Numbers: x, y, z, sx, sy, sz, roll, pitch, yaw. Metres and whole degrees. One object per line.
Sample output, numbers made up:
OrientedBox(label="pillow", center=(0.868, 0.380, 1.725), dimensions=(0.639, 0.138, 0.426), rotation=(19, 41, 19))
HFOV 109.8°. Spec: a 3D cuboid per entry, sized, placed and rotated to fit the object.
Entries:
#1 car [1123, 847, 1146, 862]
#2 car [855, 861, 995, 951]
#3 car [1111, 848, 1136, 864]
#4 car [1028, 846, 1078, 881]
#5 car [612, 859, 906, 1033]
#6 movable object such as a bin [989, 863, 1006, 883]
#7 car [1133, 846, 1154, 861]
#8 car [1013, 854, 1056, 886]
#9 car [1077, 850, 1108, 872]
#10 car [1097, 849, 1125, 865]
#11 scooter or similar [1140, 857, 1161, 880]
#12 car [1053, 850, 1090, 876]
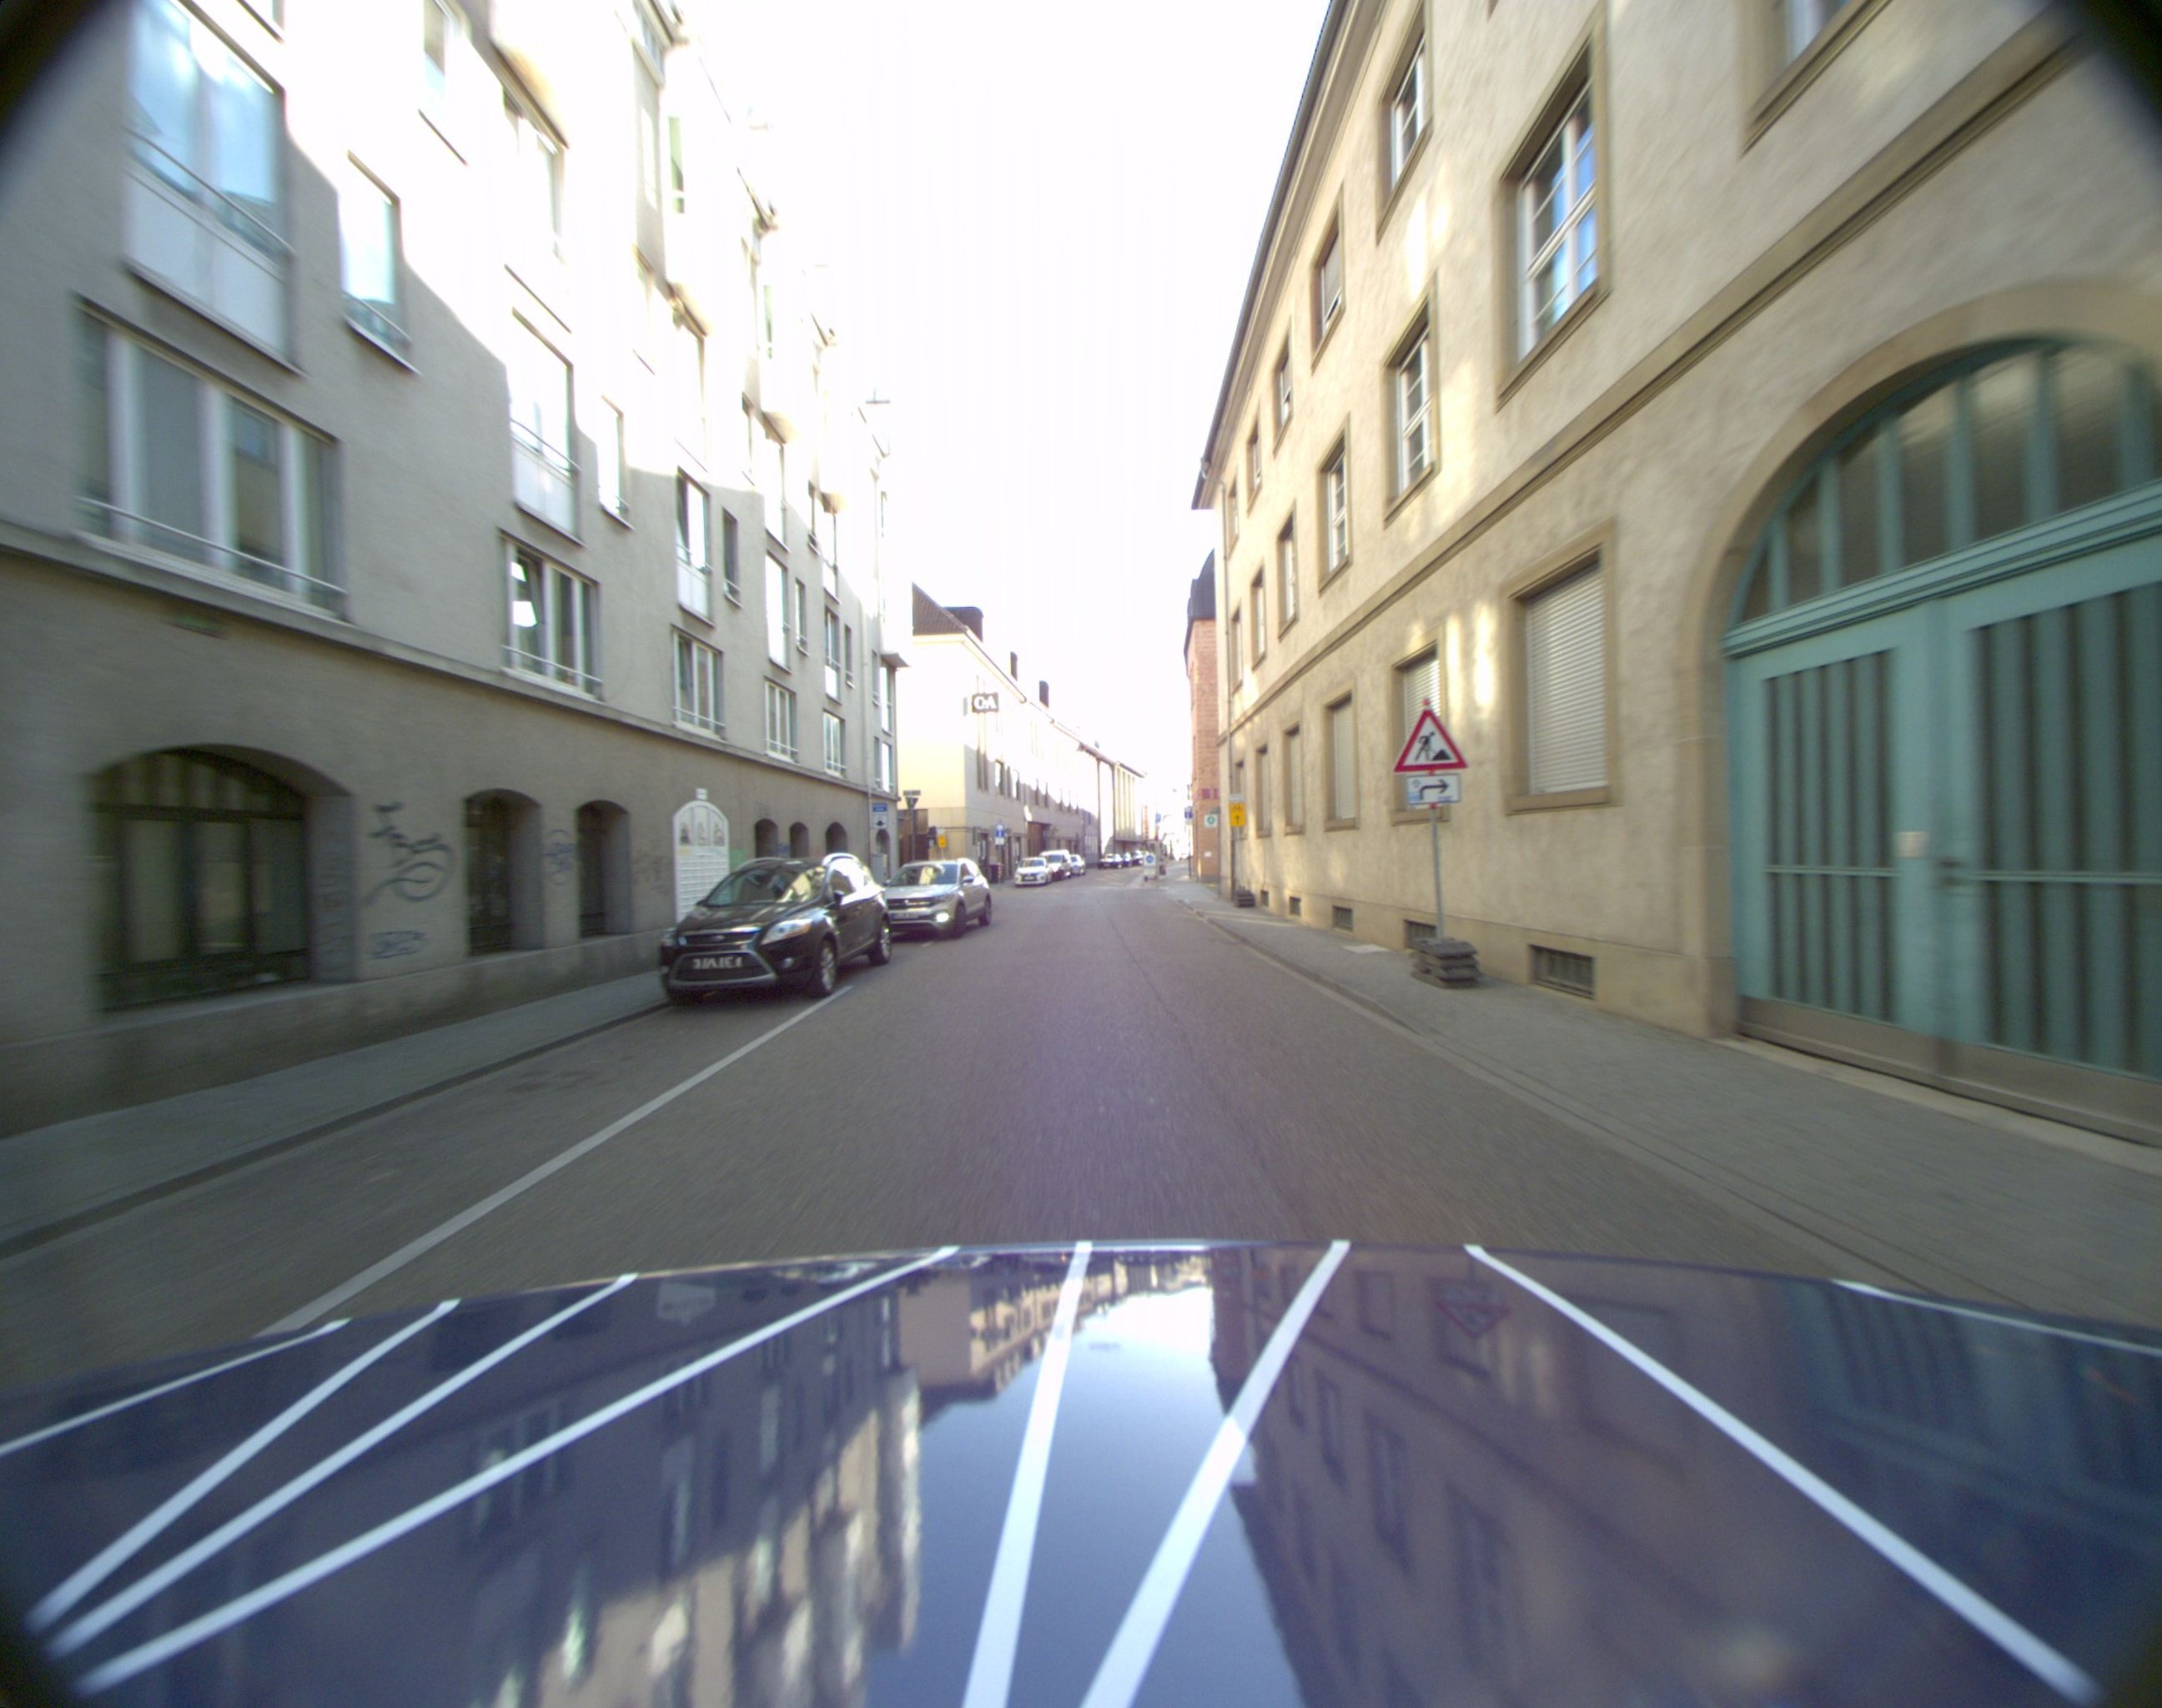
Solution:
OrientedBox(label="car", center=(6.039, 0.024, 85.330), dimensions=(1.964, 1.527, 4.199), rotation=(-3, 1, 12))
OrientedBox(label="car", center=(-3.125, 0.984, 16.129), dimensions=(1.829, 1.550, 3.987), rotation=(-2, 0, 4))
OrientedBox(label="car", center=(4.457, 0.196, 79.447), dimensions=(1.964, 1.400, 4.199), rotation=(-3, 1, 12))
OrientedBox(label="car", center=(-1.646, 0.519, 46.651), dimensions=(1.946, 1.850, 5.197), rotation=(-6, 0, 9))
OrientedBox(label="car", center=(-3.801, 0.957, 10.001), dimensions=(1.829, 1.645, 4.493), rotation=(-2, 0, 1))
OrientedBox(label="movable object such as a bin", center=(-4.584, 1.038, 41.724), dimensions=(0.688, 1.079, 0.929), rotation=(-2, 1, 5))
OrientedBox(label="car", center=(7.607, -0.053, 92.578), dimensions=(1.964, 1.637, 4.199), rotation=(-3, 1, 12))
OrientedBox(label="car", center=(-2.423, 0.834, 40.639), dimensions=(1.735, 1.539, 4.001), rotation=(-3, 0, 3))
OrientedBox(label="car", center=(0.956, 0.539, 61.642), dimensions=(1.774, 1.574, 3.859), rotation=(-6, 0, 10))
OrientedBox(label="car", center=(2.960, 0.271, 72.999), dimensions=(1.964, 1.400, 4.199), rotation=(-3, 1, 12))
OrientedBox(label="scooter or similar", center=(3.813, 0.791, 41.492), dimensions=(0.467, 1.217, 1.303), rotation=(0, 0, 42))
OrientedBox(label="car", center=(-0.607, 0.589, 52.717), dimensions=(1.775, 1.574, 3.858), rotation=(-6, 0, 9))
